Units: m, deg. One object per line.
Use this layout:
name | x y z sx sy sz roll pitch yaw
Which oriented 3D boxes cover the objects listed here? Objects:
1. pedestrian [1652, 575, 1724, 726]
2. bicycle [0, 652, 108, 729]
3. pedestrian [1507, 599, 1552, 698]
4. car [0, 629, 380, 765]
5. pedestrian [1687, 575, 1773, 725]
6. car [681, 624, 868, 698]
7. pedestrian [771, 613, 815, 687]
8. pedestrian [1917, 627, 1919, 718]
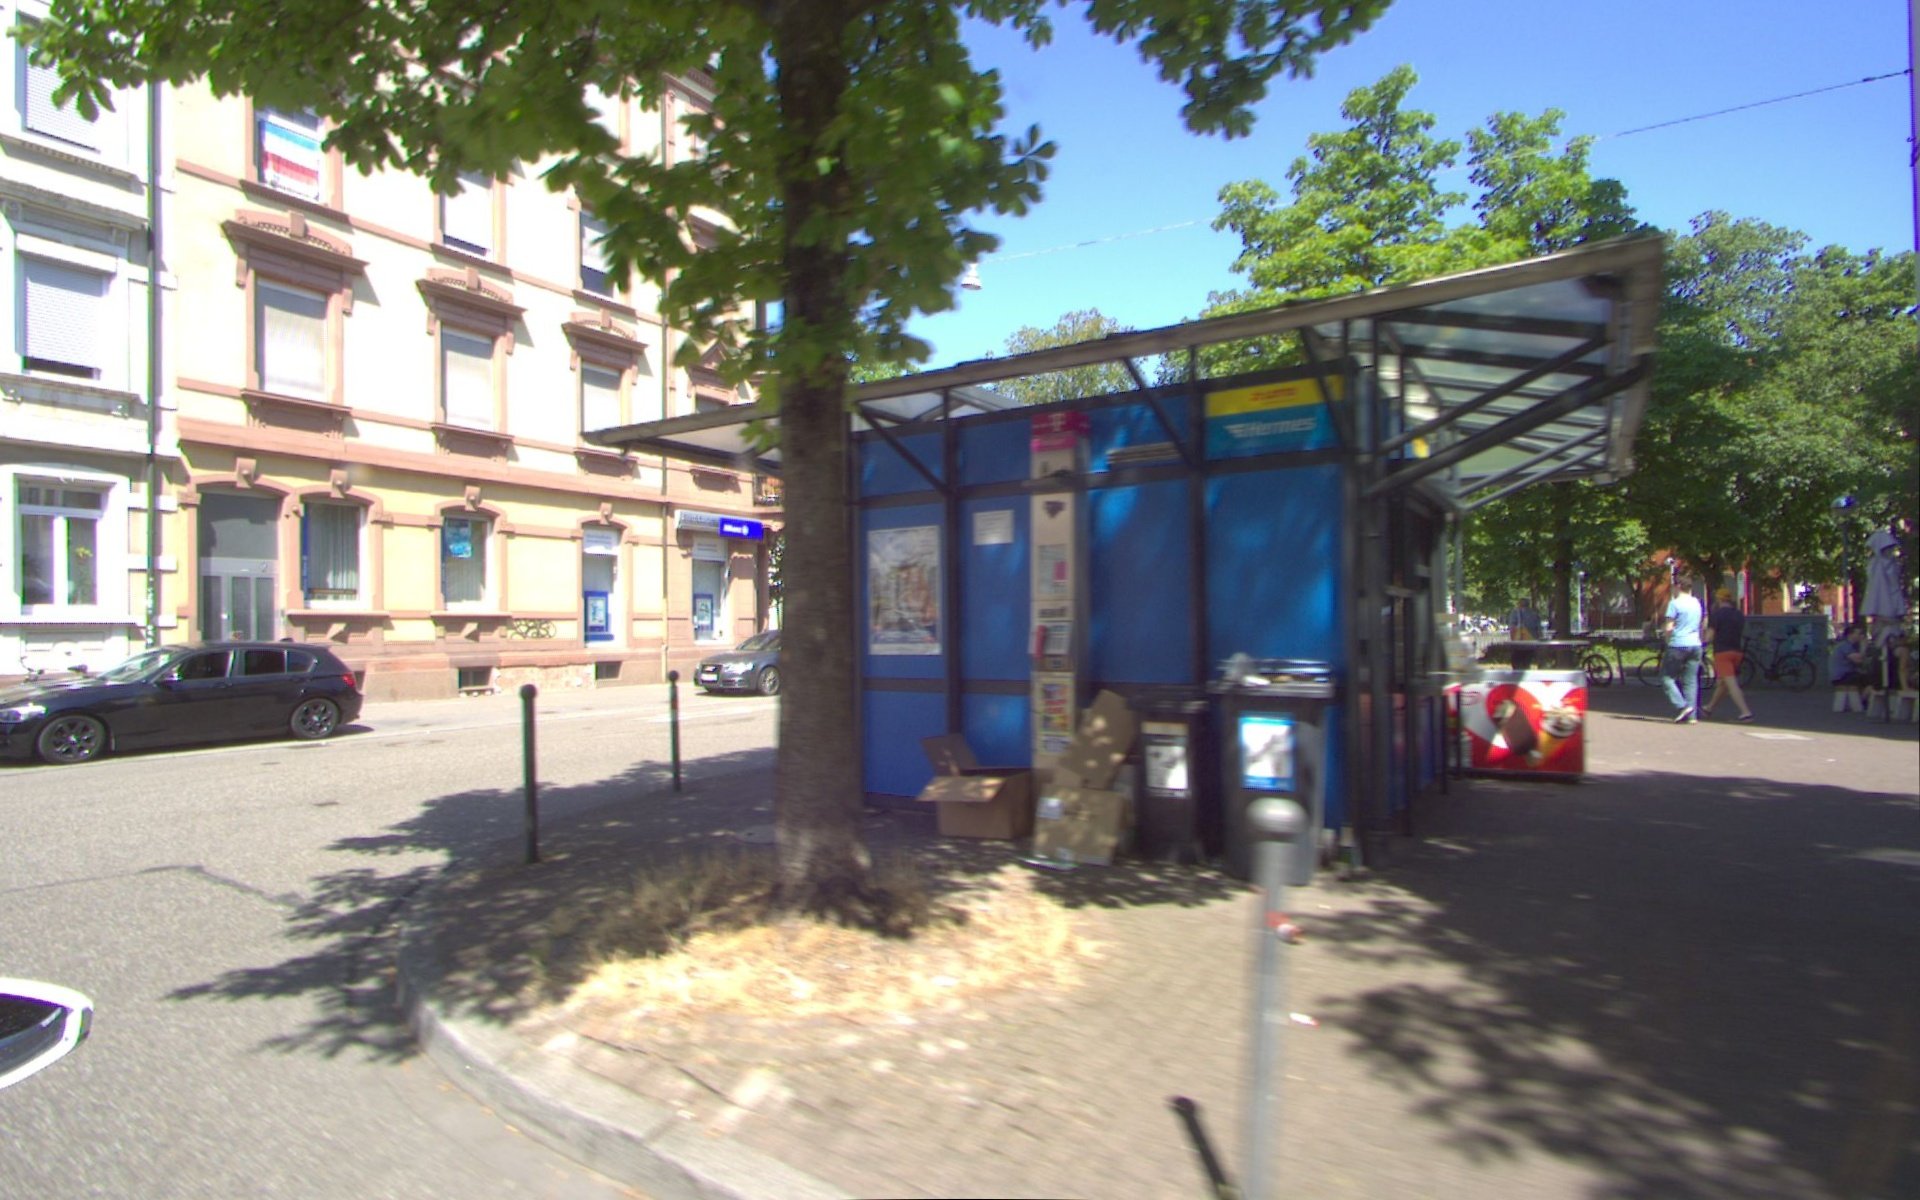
pedestrian | 9.428 0.650 12.993 0.510 1.893 0.653 -1 -1 14
bicycle | -13.810 1.332 14.677 0.417 1.035 2.002 2 1 30
pedestrian | 10.817 0.919 19.032 0.594 1.835 0.587 -1 -1 17
car | -10.440 1.159 13.430 1.781 1.388 4.285 2 1 33
pedestrian | 10.143 0.658 13.225 0.590 1.904 0.882 -1 -1 17
car | -4.211 1.333 23.388 1.781 1.474 4.413 0 0 33
pedestrian | -4.726 1.402 28.481 1.032 2.040 1.230 -1 0 -1
pedestrian | 12.817 0.954 13.058 0.408 1.198 0.442 -1 0 34
